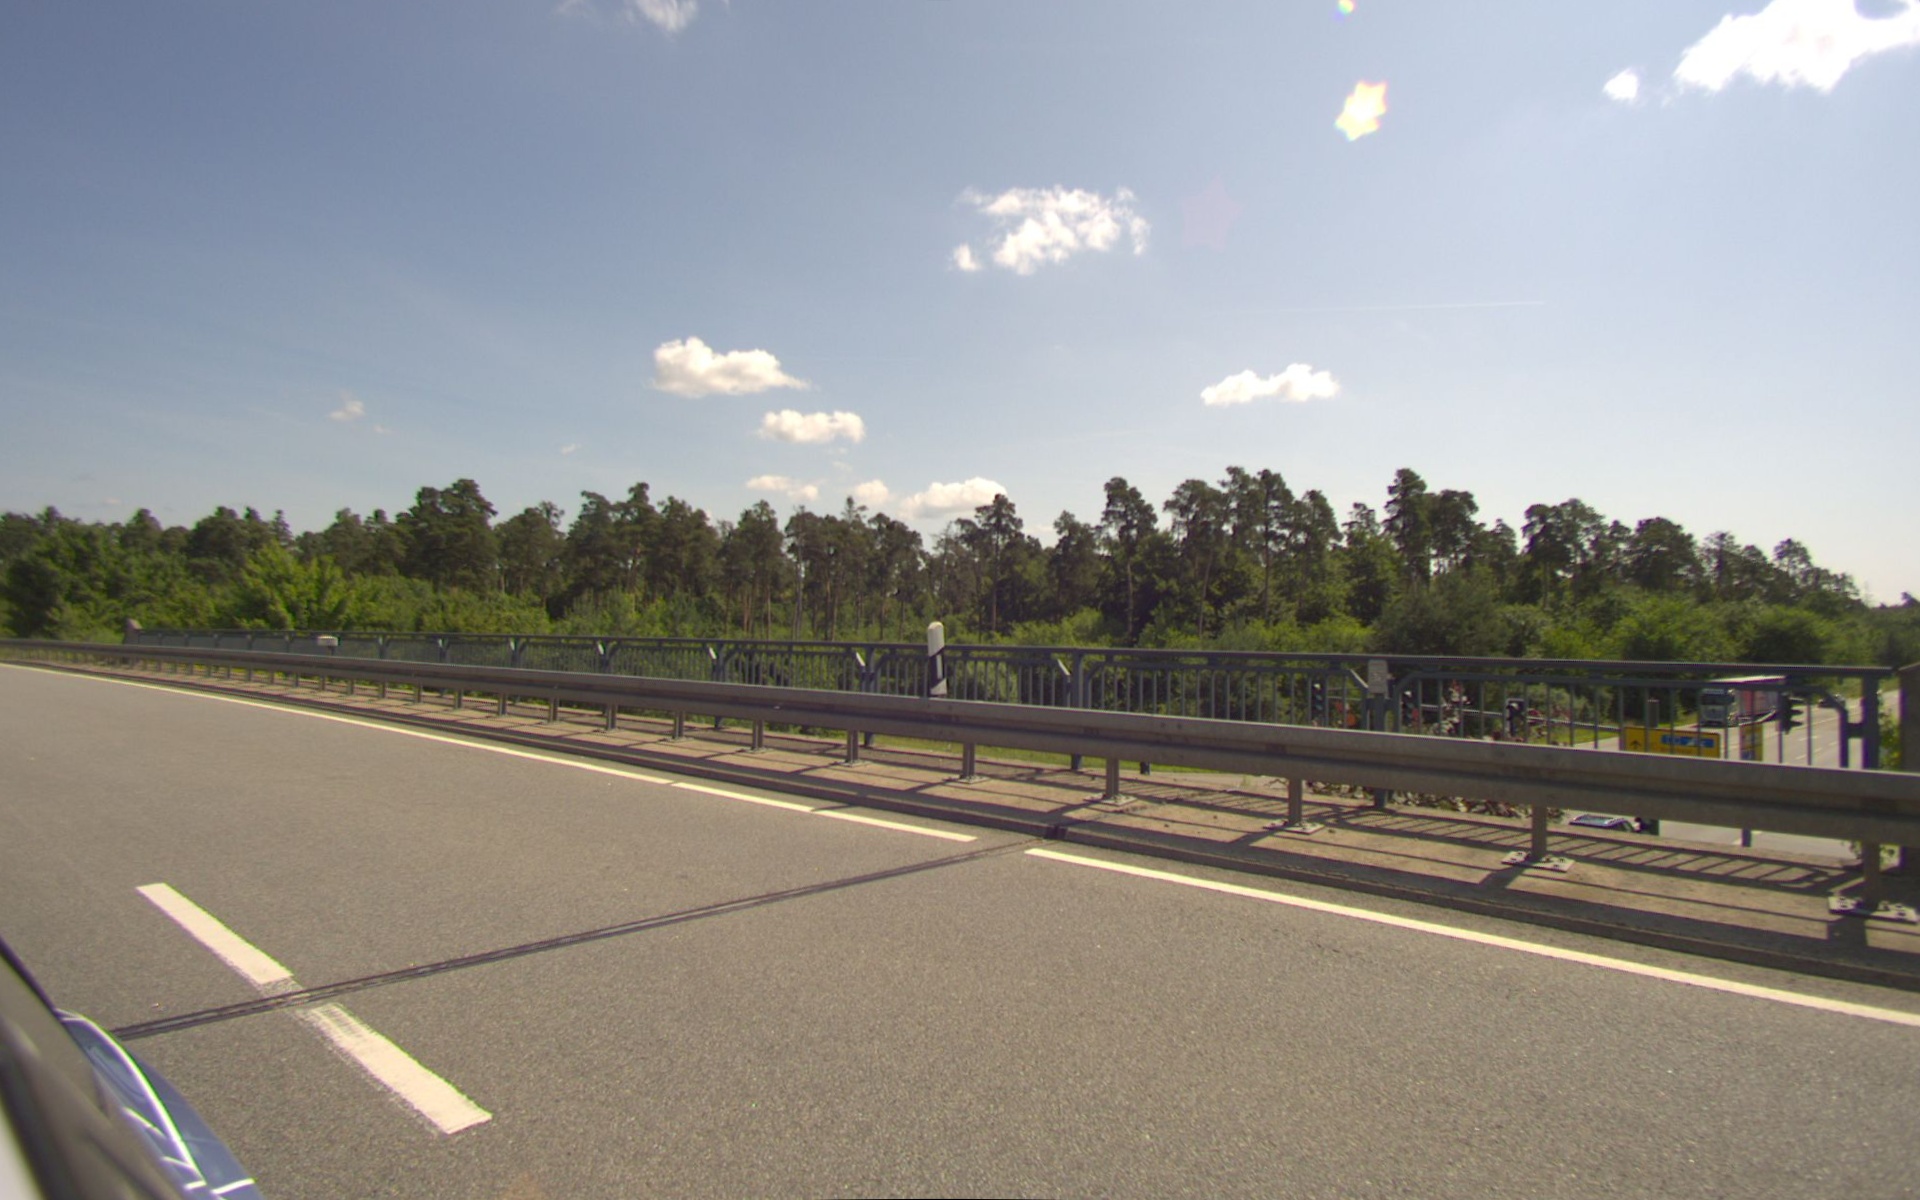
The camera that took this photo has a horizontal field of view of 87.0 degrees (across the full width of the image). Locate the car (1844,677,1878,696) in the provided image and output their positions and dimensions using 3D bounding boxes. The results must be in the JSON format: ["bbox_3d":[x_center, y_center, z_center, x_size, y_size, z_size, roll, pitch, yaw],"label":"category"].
[{"bbox_3d":[111.667,10.669,125.389,4.738,1.902,2.148,-2,1,-35],"label":"car"}]

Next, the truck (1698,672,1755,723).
[{"bbox_3d":[69.136,8.765,91.314,5.251,4.033,2.621,-1,1,-35],"label":"truck"}]

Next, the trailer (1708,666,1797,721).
[{"bbox_3d":[74.803,8.681,95.322,14.151,4.033,2.621,-1,1,-35],"label":"trailer"}]

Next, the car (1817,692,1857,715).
[{"bbox_3d":[94.872,11.131,109.447,4.738,1.902,2.148,-2,1,-35],"label":"car"}]

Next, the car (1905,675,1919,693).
[{"bbox_3d":[127.161,11.124,133.921,4.738,1.902,2.148,-2,1,-35],"label":"car"}]

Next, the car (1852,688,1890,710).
[{"bbox_3d":[101.811,11.018,113.088,4.738,1.902,2.148,-2,1,-35],"label":"car"}]
